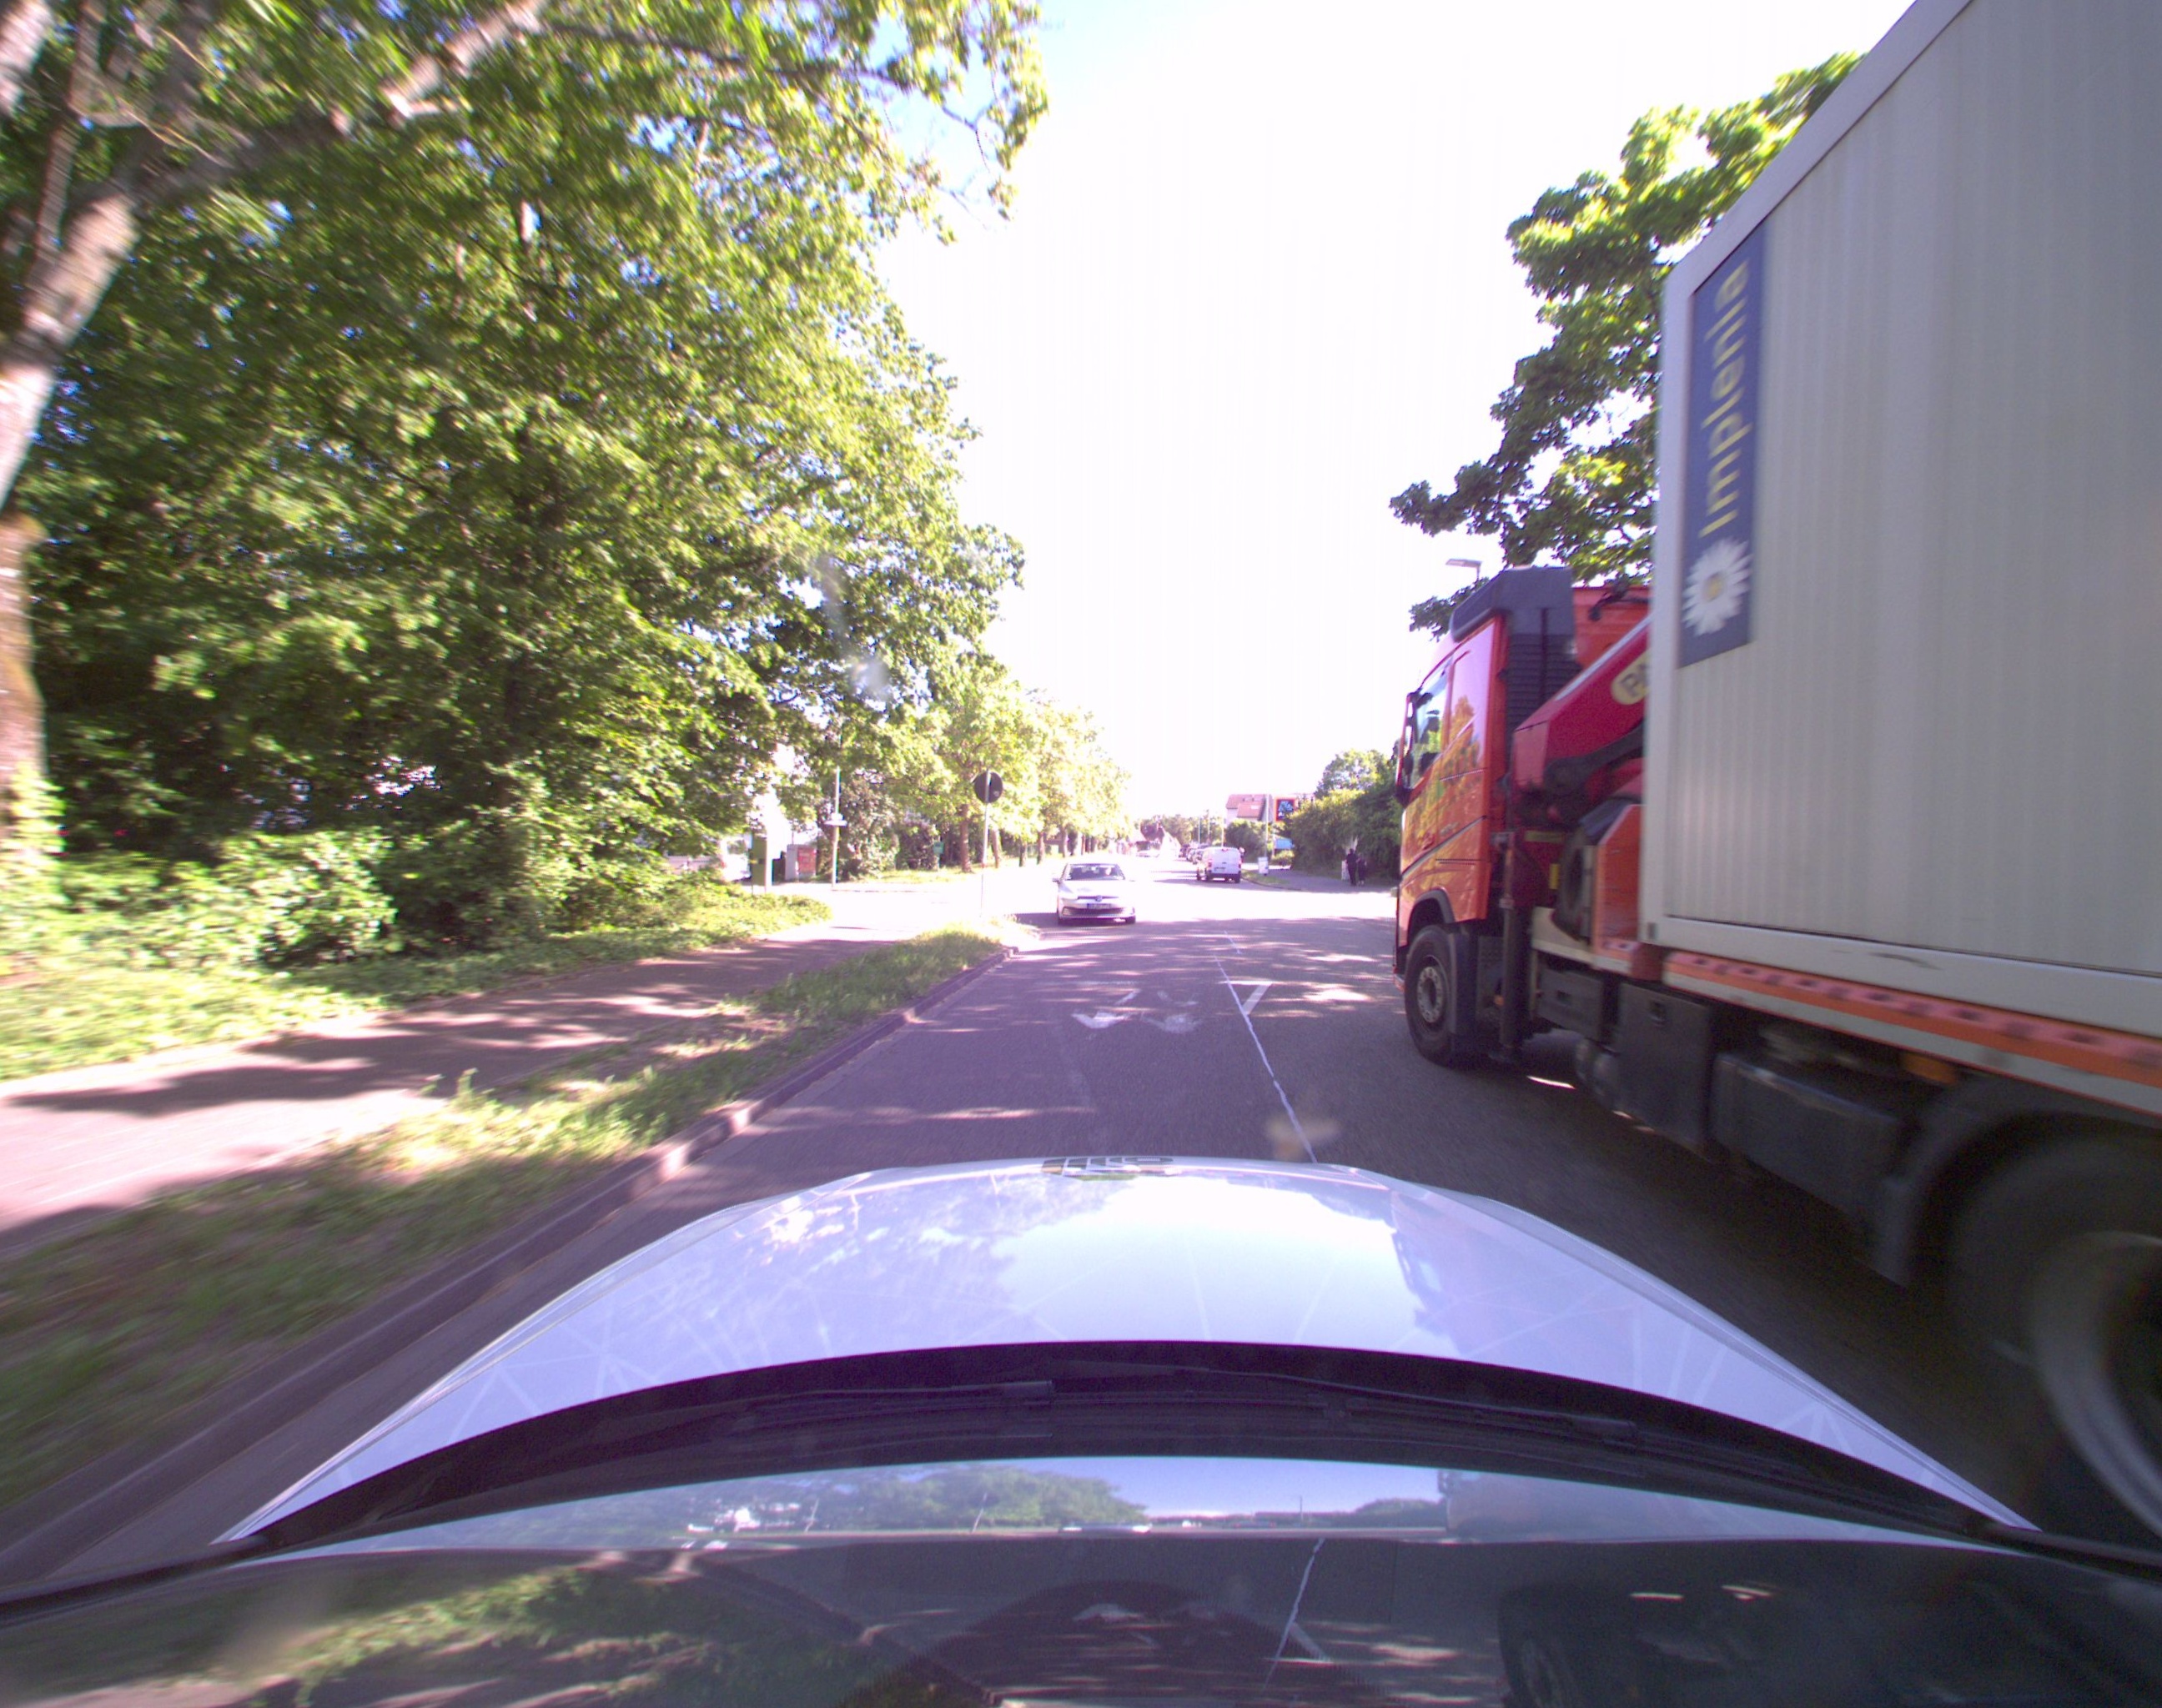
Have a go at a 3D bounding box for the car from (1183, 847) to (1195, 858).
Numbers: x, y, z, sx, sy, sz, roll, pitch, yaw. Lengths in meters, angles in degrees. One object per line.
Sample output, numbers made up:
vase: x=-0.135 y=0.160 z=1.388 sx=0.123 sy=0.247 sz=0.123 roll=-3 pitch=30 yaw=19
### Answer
car: x=18.506 y=-0.204 z=139.503 sx=1.773 sy=1.808 sz=4.006 roll=0 pitch=0 yaw=5

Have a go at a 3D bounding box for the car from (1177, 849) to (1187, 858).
car: x=20.556 y=-0.080 z=165.880 sx=1.773 sy=1.808 sz=4.006 roll=0 pitch=0 yaw=5

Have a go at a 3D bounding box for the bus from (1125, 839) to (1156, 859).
bus: x=10.206 y=-0.860 z=137.412 sx=4.039 sy=3.349 sz=9.831 roll=0 pitch=0 yaw=11

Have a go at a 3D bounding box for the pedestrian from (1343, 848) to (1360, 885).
pedestrian: x=12.385 y=0.564 z=37.305 sx=0.567 sy=1.682 sz=0.514 roll=1 pitch=0 yaw=2

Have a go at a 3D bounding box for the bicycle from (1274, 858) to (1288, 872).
bicycle: x=15.261 y=0.818 z=62.117 sx=0.631 sy=1.027 sz=2.176 roll=3 pitch=0 yaw=24

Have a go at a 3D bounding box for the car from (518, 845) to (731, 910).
car: x=-10.584 y=0.519 z=19.017 sx=4.087 sy=1.394 sz=1.681 roll=0 pitch=0 yaw=6

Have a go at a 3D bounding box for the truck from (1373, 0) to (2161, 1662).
truck: x=3.564 y=-0.461 z=2.413 sx=2.758 sy=3.995 sz=10.369 roll=2 pitch=0 yaw=7

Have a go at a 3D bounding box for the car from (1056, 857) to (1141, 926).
car: x=0.311 y=0.812 z=19.478 sx=1.801 sy=1.420 sz=3.956 roll=-1 pitch=0 yaw=-2

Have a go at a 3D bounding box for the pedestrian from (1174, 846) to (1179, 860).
pedestrian: x=14.883 y=-0.196 z=127.022 sx=0.748 sy=2.113 sz=0.801 roll=3 pitch=0 yaw=8

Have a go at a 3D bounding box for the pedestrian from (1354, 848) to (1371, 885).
pedestrian: x=12.998 y=0.587 z=37.621 sx=0.568 sy=1.682 sz=0.513 roll=1 pitch=0 yaw=-4

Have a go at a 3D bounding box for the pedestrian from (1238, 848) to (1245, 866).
pedestrian: x=18.202 y=0.336 z=92.398 sx=0.639 sy=2.013 sz=0.701 roll=3 pitch=0 yaw=-1

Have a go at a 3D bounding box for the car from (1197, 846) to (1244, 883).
car: x=7.359 y=0.515 z=43.256 sx=1.938 sy=1.843 sz=4.003 roll=1 pitch=0 yaw=3

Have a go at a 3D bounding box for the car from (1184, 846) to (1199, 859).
car: x=15.319 y=-0.162 z=112.993 sx=1.773 sy=1.808 sz=4.006 roll=0 pitch=0 yaw=5

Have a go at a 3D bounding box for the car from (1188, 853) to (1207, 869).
car: x=12.028 y=0.685 z=84.325 sx=1.773 sy=1.652 sz=4.006 roll=0 pitch=0 yaw=5

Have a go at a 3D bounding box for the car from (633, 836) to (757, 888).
car: x=-15.118 y=0.314 z=31.985 sx=4.087 sy=1.964 sz=1.681 roll=-1 pitch=0 yaw=6

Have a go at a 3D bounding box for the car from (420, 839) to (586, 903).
car: x=-16.210 y=0.439 z=23.111 sx=1.664 sy=1.652 sz=3.866 roll=-1 pitch=0 yaw=7

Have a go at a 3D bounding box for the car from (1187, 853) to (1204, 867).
car: x=13.468 y=0.678 z=95.609 sx=1.773 sy=1.652 sz=4.006 roll=0 pitch=0 yaw=5
